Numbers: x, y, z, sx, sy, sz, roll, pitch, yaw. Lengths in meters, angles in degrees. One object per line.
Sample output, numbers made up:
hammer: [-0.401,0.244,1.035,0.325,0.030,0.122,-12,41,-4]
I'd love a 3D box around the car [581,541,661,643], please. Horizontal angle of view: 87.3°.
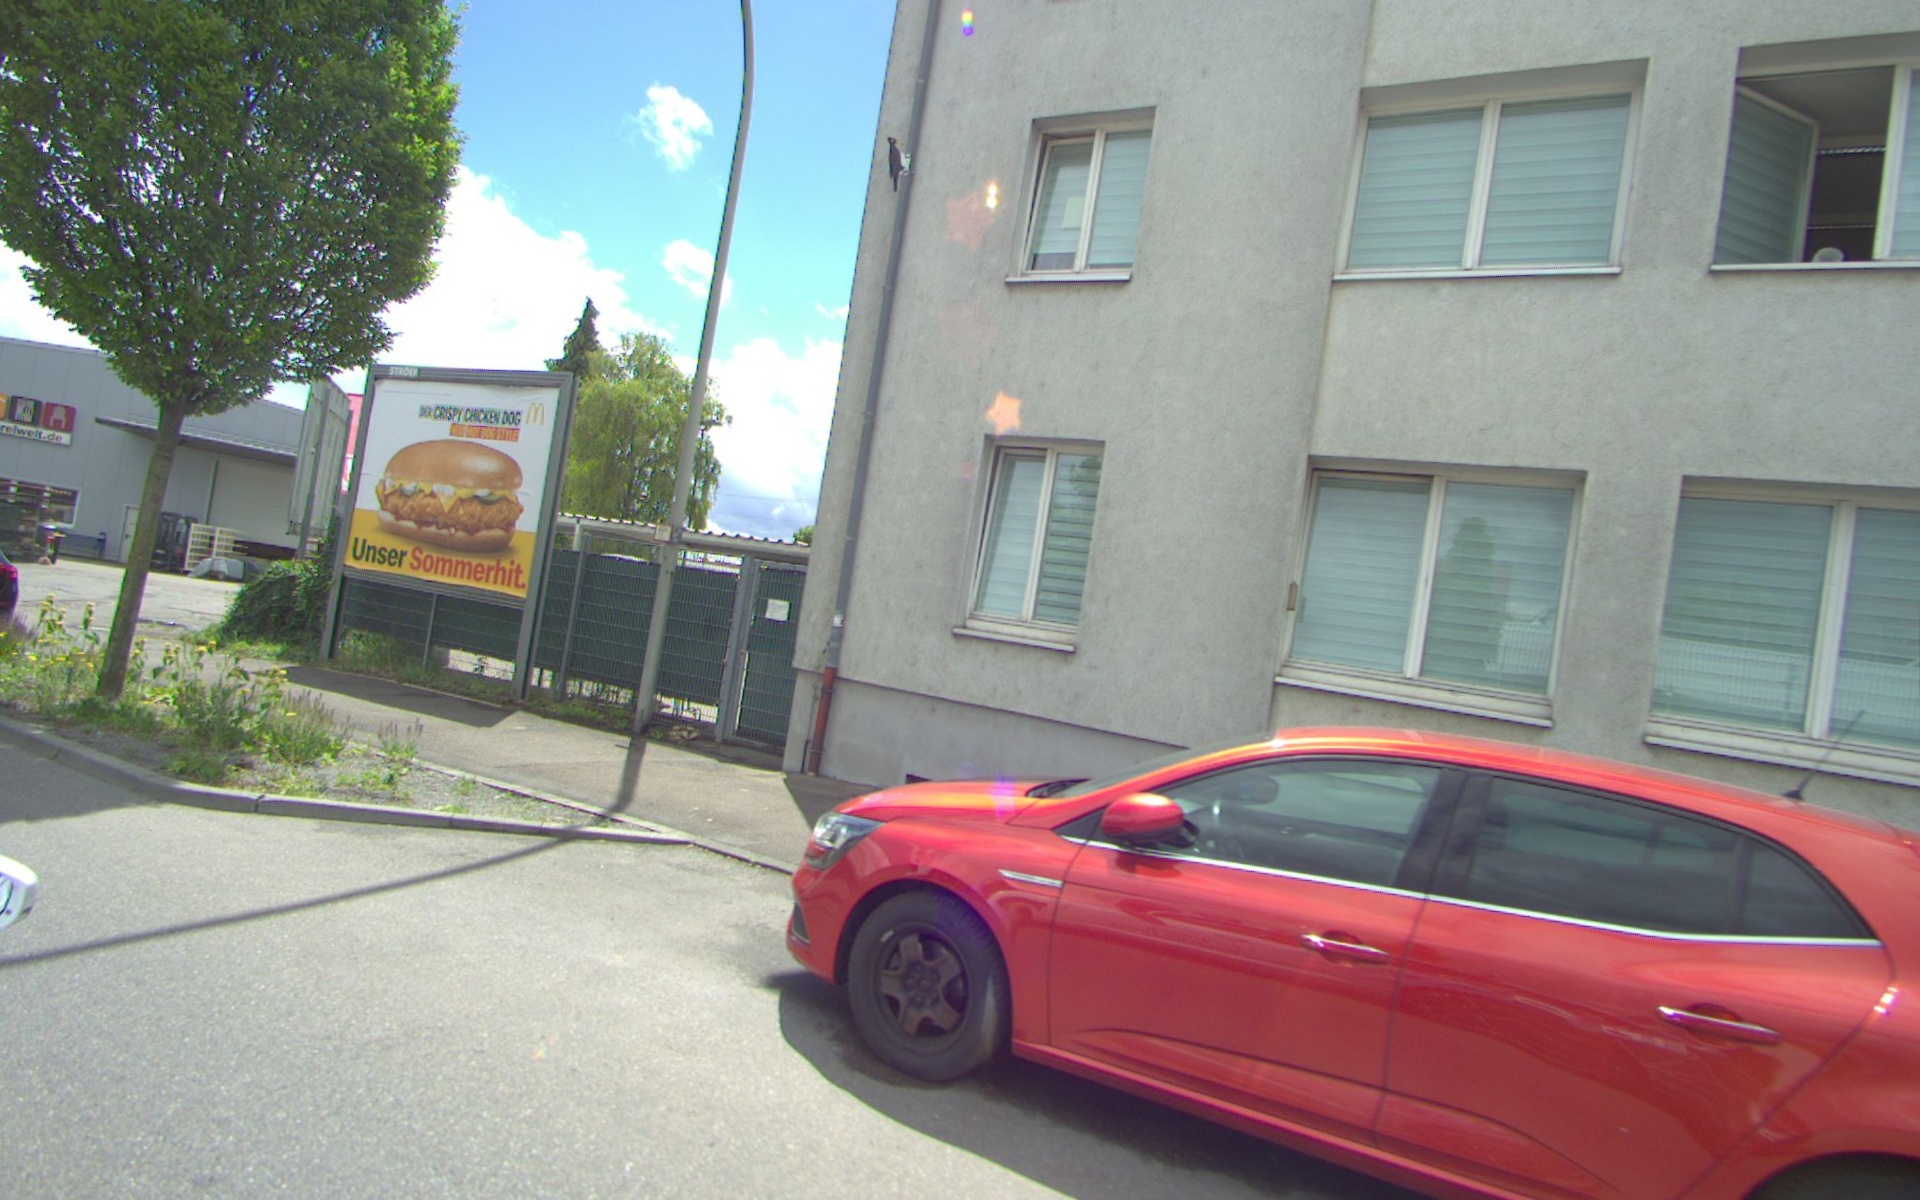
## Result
car: [-11.410,-0.271,33.715,2.037,2.877,5.951,7,-1,-20]

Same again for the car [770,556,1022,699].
car: [-1.547,0.641,24.113,5.360,2.798,2.284,5,-3,26]

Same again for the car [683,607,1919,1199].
car: [1.257,1.102,3.704,4.187,1.488,1.741,7,-3,28]

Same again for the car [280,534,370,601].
car: [-21.332,-1.064,33.960,1.794,1.893,4.020,8,-2,-23]

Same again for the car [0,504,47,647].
car: [-12.421,-0.541,11.082,4.625,1.482,1.797,6,-3,26]
